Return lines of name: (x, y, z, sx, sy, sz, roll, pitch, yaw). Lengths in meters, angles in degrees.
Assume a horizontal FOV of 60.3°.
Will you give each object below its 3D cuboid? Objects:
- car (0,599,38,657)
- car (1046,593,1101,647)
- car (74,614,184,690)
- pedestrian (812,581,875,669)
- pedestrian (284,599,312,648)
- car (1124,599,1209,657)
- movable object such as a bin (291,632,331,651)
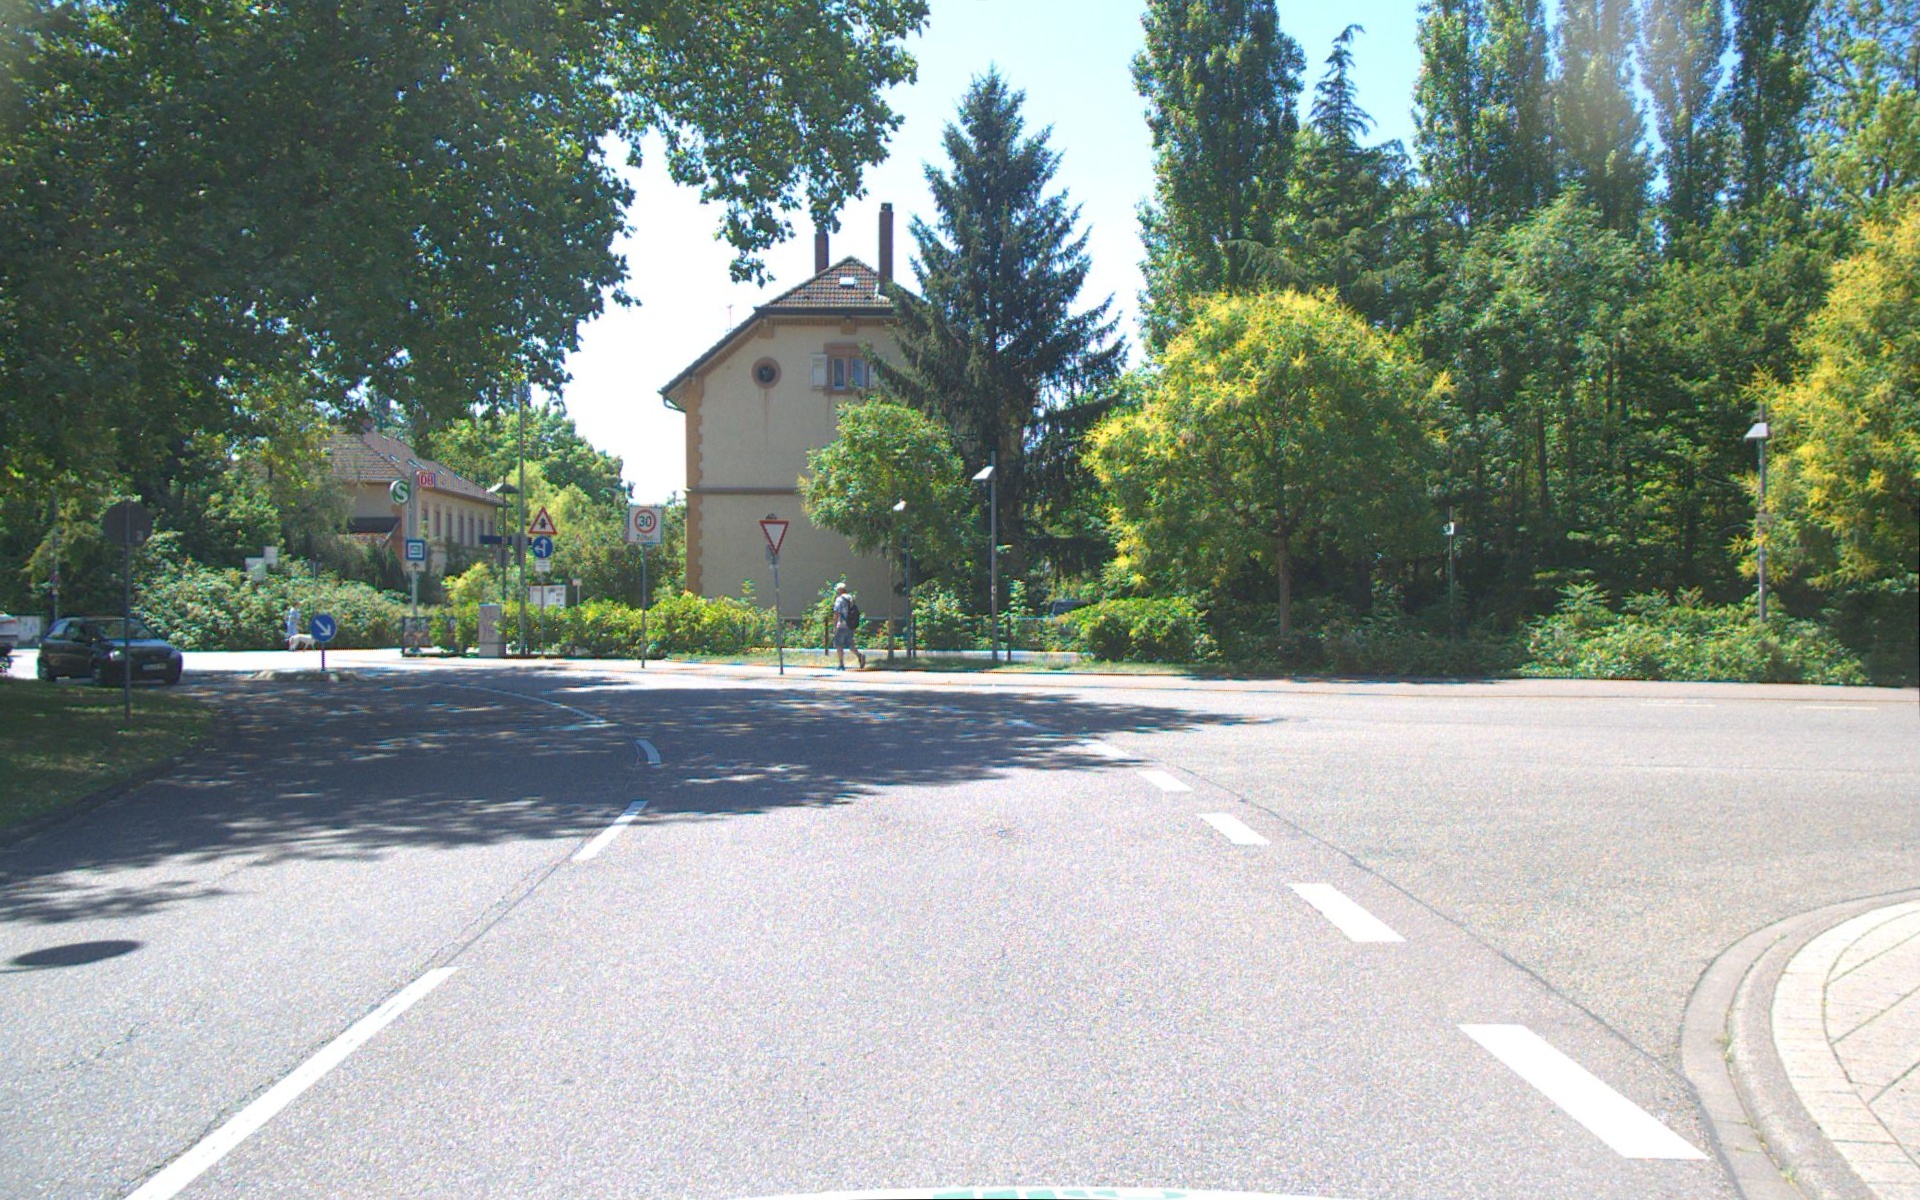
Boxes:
car: (-30.684, 0.876, 51.019, 4.376, 1.643, 1.937, -2, -7, 32)
car: (3.422, 0.596, 50.271, 1.615, 1.563, 3.971, 0, 0, 3)
car: (-17.724, 1.060, 35.199, 1.626, 1.442, 3.954, -2, 1, -33)
pedestrian: (-2.465, 0.521, 35.061, 0.907, 1.802, 0.902, -4, 2, -41)
pedestrian: (-22.634, 0.786, 56.556, 0.685, 1.656, 0.615, 1, 1, 32)
car: (5.665, 0.731, 45.866, 1.728, 1.526, 4.499, 0, 0, -1)
movable object such as a bin: (-22.017, 1.398, 56.133, 0.505, 0.605, 1.241, 0, 0, 28)
